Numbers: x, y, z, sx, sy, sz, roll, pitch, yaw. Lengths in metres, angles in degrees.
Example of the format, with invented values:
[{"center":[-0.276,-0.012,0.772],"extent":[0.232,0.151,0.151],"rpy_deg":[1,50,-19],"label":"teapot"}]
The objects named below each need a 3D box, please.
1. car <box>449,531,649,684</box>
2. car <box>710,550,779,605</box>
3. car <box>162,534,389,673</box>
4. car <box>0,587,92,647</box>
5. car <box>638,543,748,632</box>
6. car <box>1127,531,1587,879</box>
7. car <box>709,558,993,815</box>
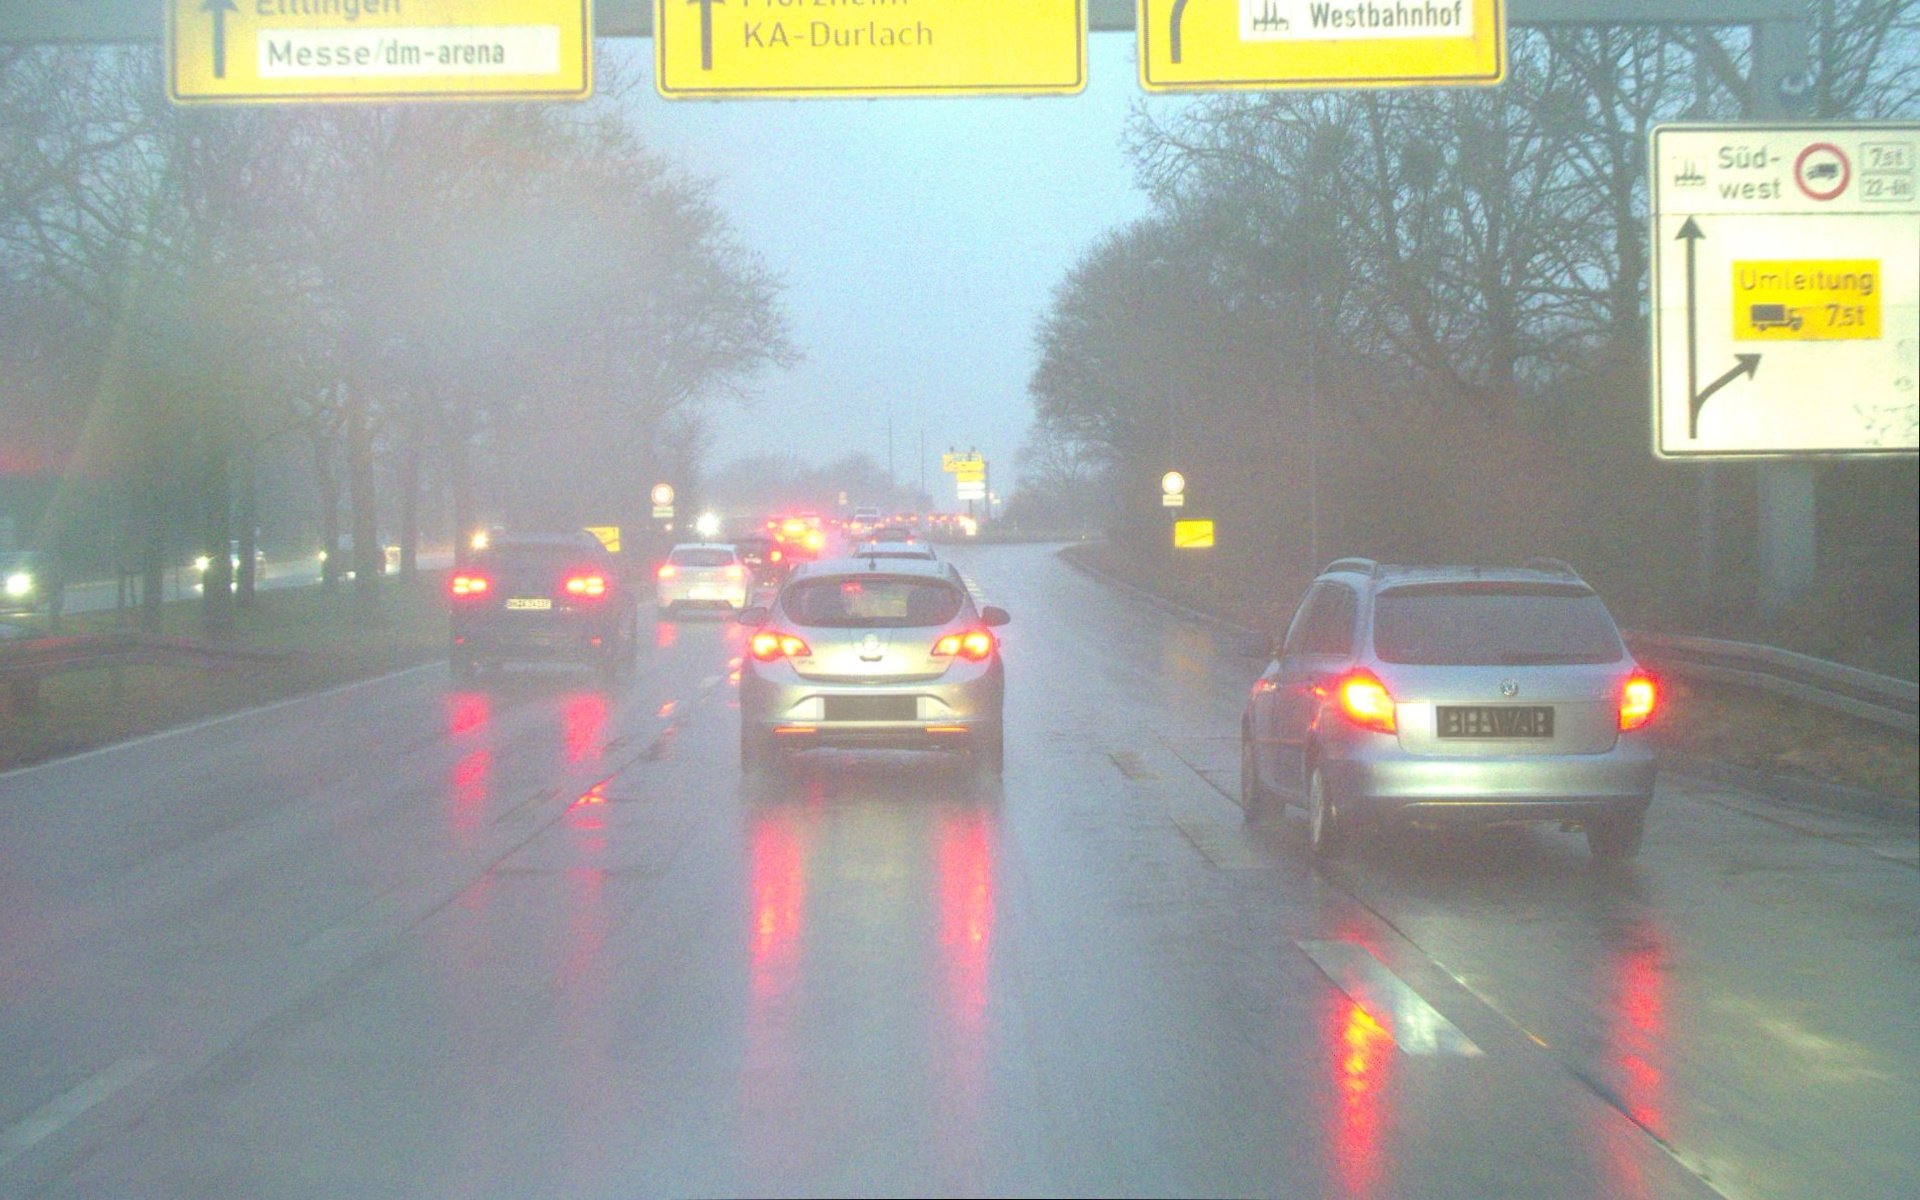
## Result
[{"center":[-4.639,0.061,39.313],"extent":[1.822,1.642,4.000],"rpy_deg":[-1,0,0],"label":"car"},{"center":[-5.438,-0.579,87.055],"extent":[1.505,1.334,4.000],"rpy_deg":[-1,1,0],"label":"car"},{"center":[-8.191,0.023,41.470],"extent":[1.993,1.592,4.000],"rpy_deg":[0,0,-1],"label":"car"},{"center":[-21.756,0.381,80.649],"extent":[1.751,1.303,4.316],"rpy_deg":[0,1,-1],"label":"car"},{"center":[-5.091,-0.247,66.019],"extent":[1.822,1.642,4.000],"rpy_deg":[-1,0,0],"label":"car"},{"center":[2.008,0.503,18.688],"extent":[1.933,1.642,4.466],"rpy_deg":[1,0,0],"label":"car"},{"center":[-0.725,0.561,24.560],"extent":[1.822,1.642,4.466],"rpy_deg":[1,0,0],"label":"car"}]
